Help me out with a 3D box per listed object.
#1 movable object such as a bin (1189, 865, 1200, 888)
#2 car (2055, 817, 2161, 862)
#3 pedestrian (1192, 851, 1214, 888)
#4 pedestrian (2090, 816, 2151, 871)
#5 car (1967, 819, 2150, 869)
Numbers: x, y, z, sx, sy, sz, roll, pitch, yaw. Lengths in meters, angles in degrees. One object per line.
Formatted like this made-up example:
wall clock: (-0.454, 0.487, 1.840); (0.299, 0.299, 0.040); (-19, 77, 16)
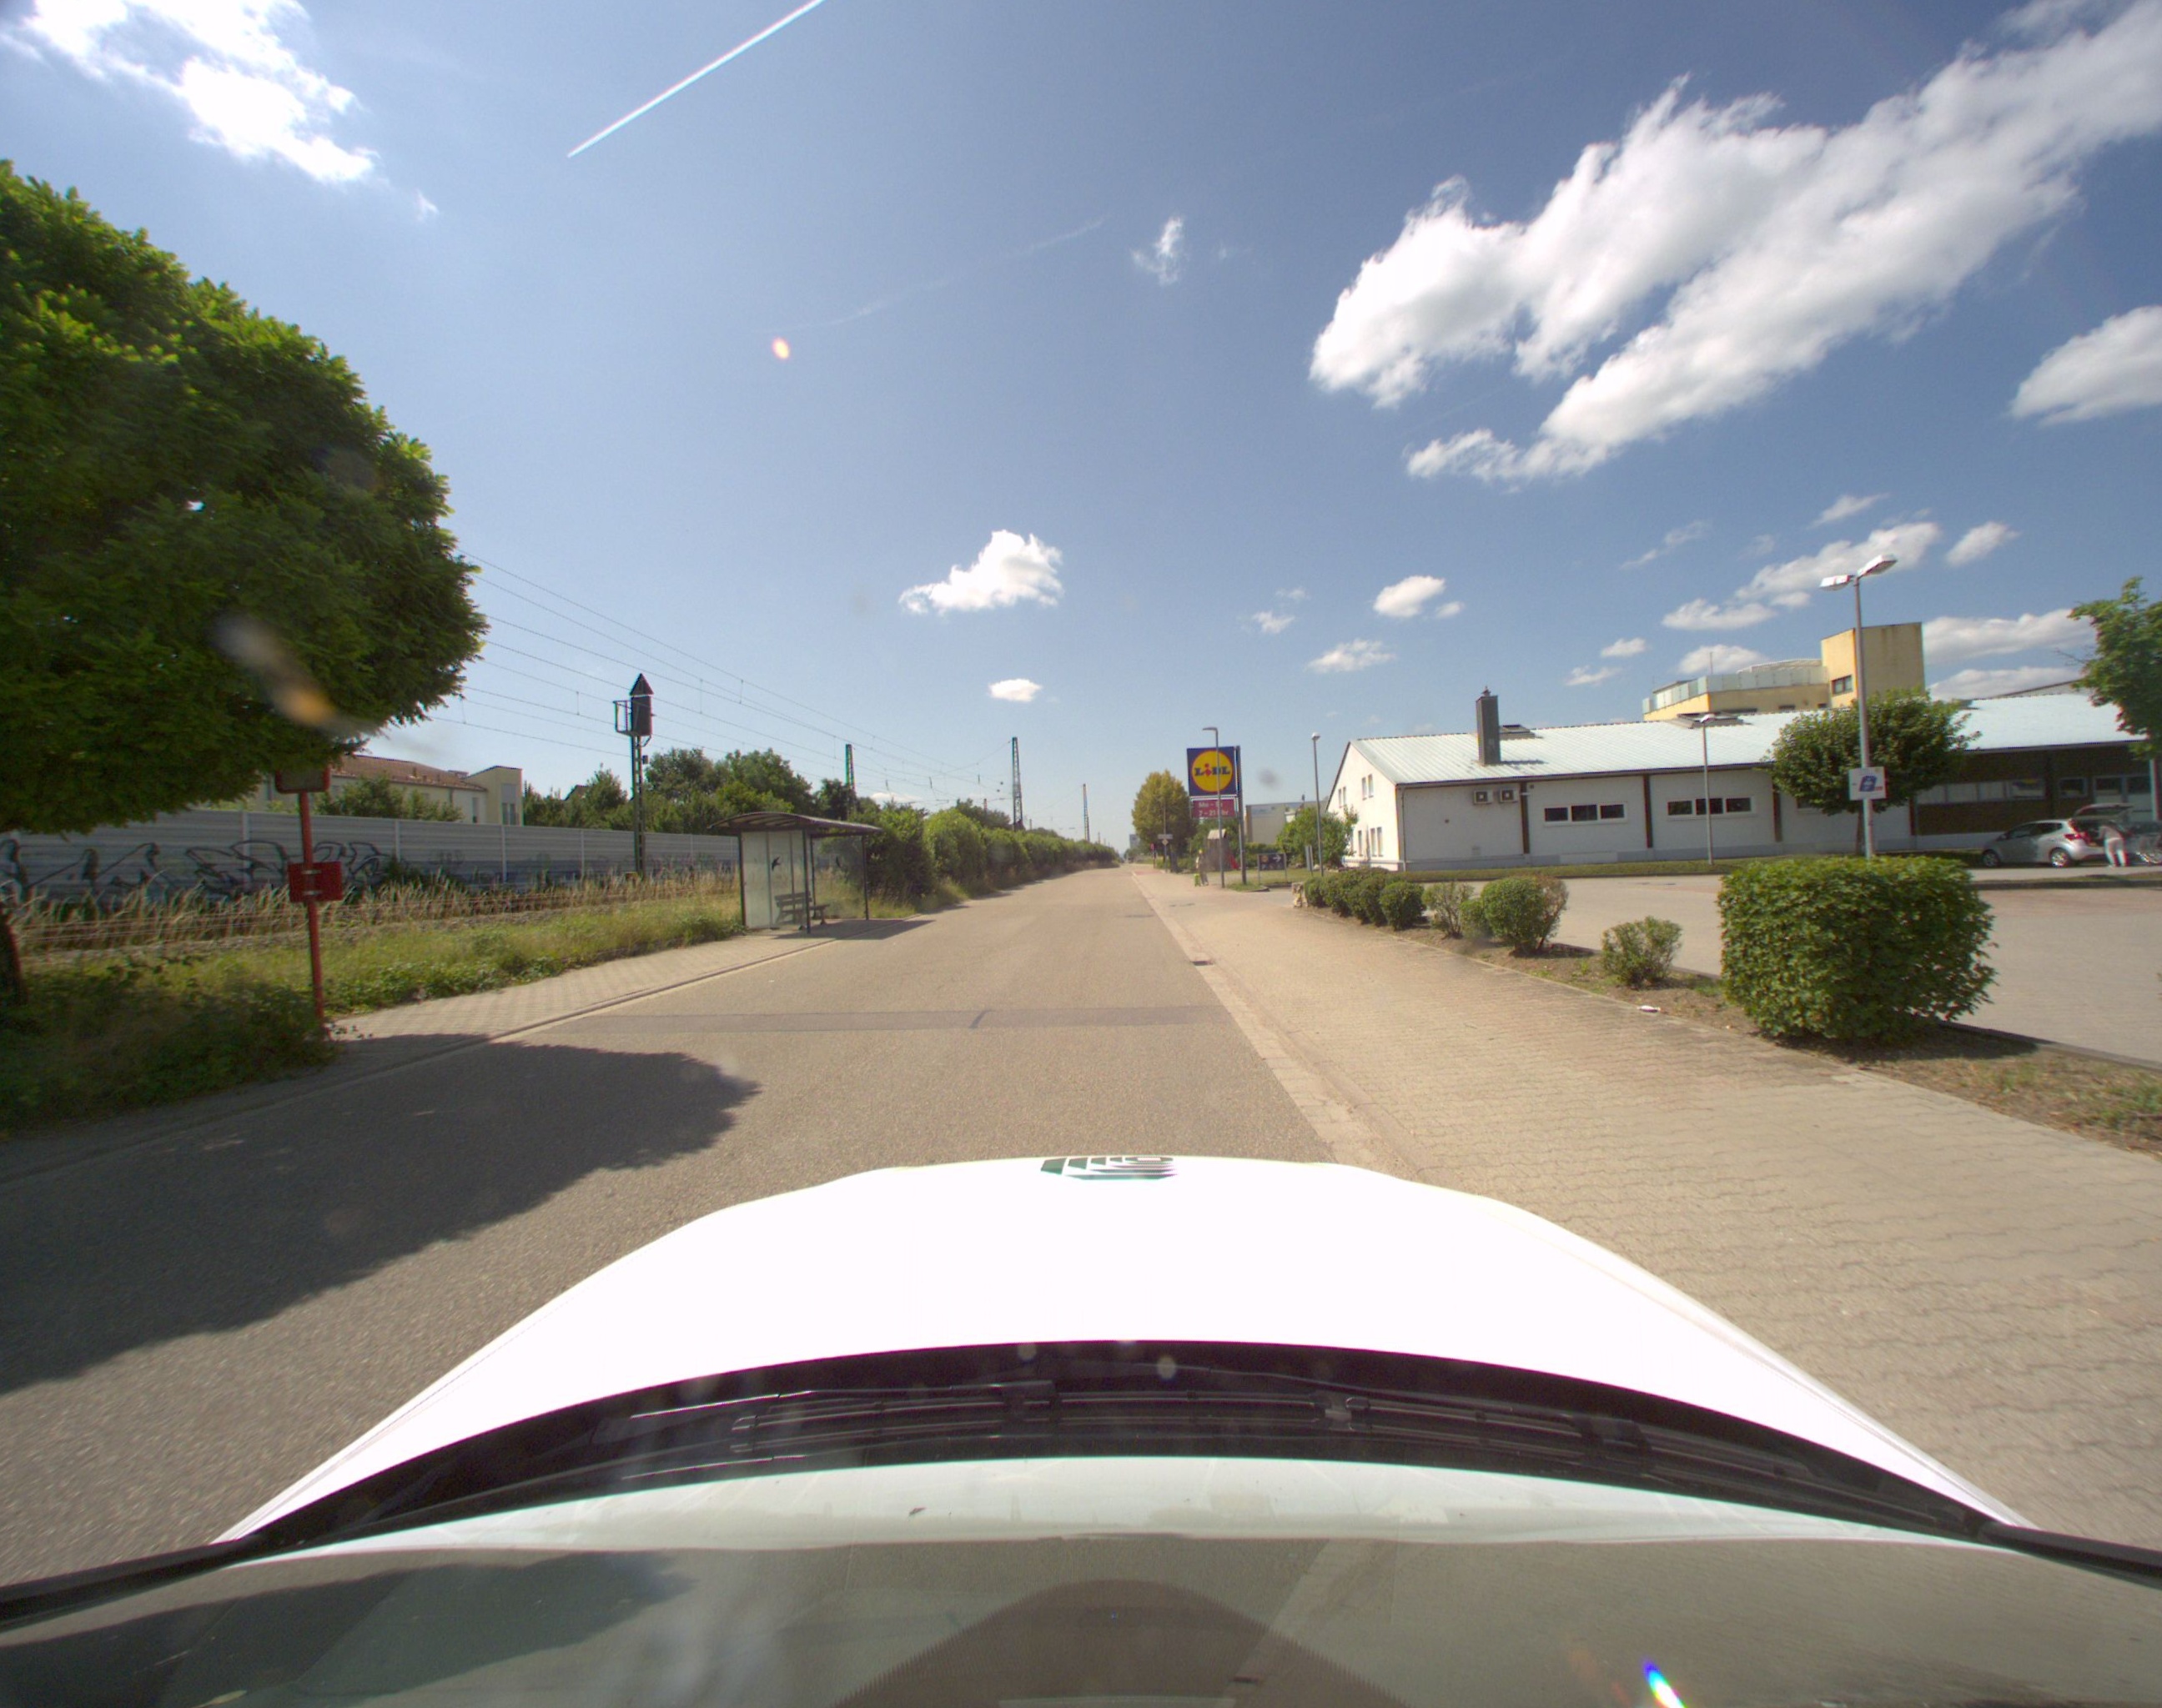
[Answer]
movable object such as a bin: (5.085, 1.002, 36.449); (0.373, 1.029, 0.499); (-3, 0, 0)
car: (35.323, -0.476, 27.127); (1.577, 1.425, 3.754); (-2, -1, 9)
pedestrian: (5.514, 0.687, 36.935); (0.759, 1.602, 1.210); (-2, 0, 0)
pedestrian: (32.174, -0.320, 25.228); (0.724, 1.637, 0.785); (-4, -3, 15)
car: (32.856, -0.315, 27.563); (1.876, 1.498, 3.912); (-2, 0, 11)
